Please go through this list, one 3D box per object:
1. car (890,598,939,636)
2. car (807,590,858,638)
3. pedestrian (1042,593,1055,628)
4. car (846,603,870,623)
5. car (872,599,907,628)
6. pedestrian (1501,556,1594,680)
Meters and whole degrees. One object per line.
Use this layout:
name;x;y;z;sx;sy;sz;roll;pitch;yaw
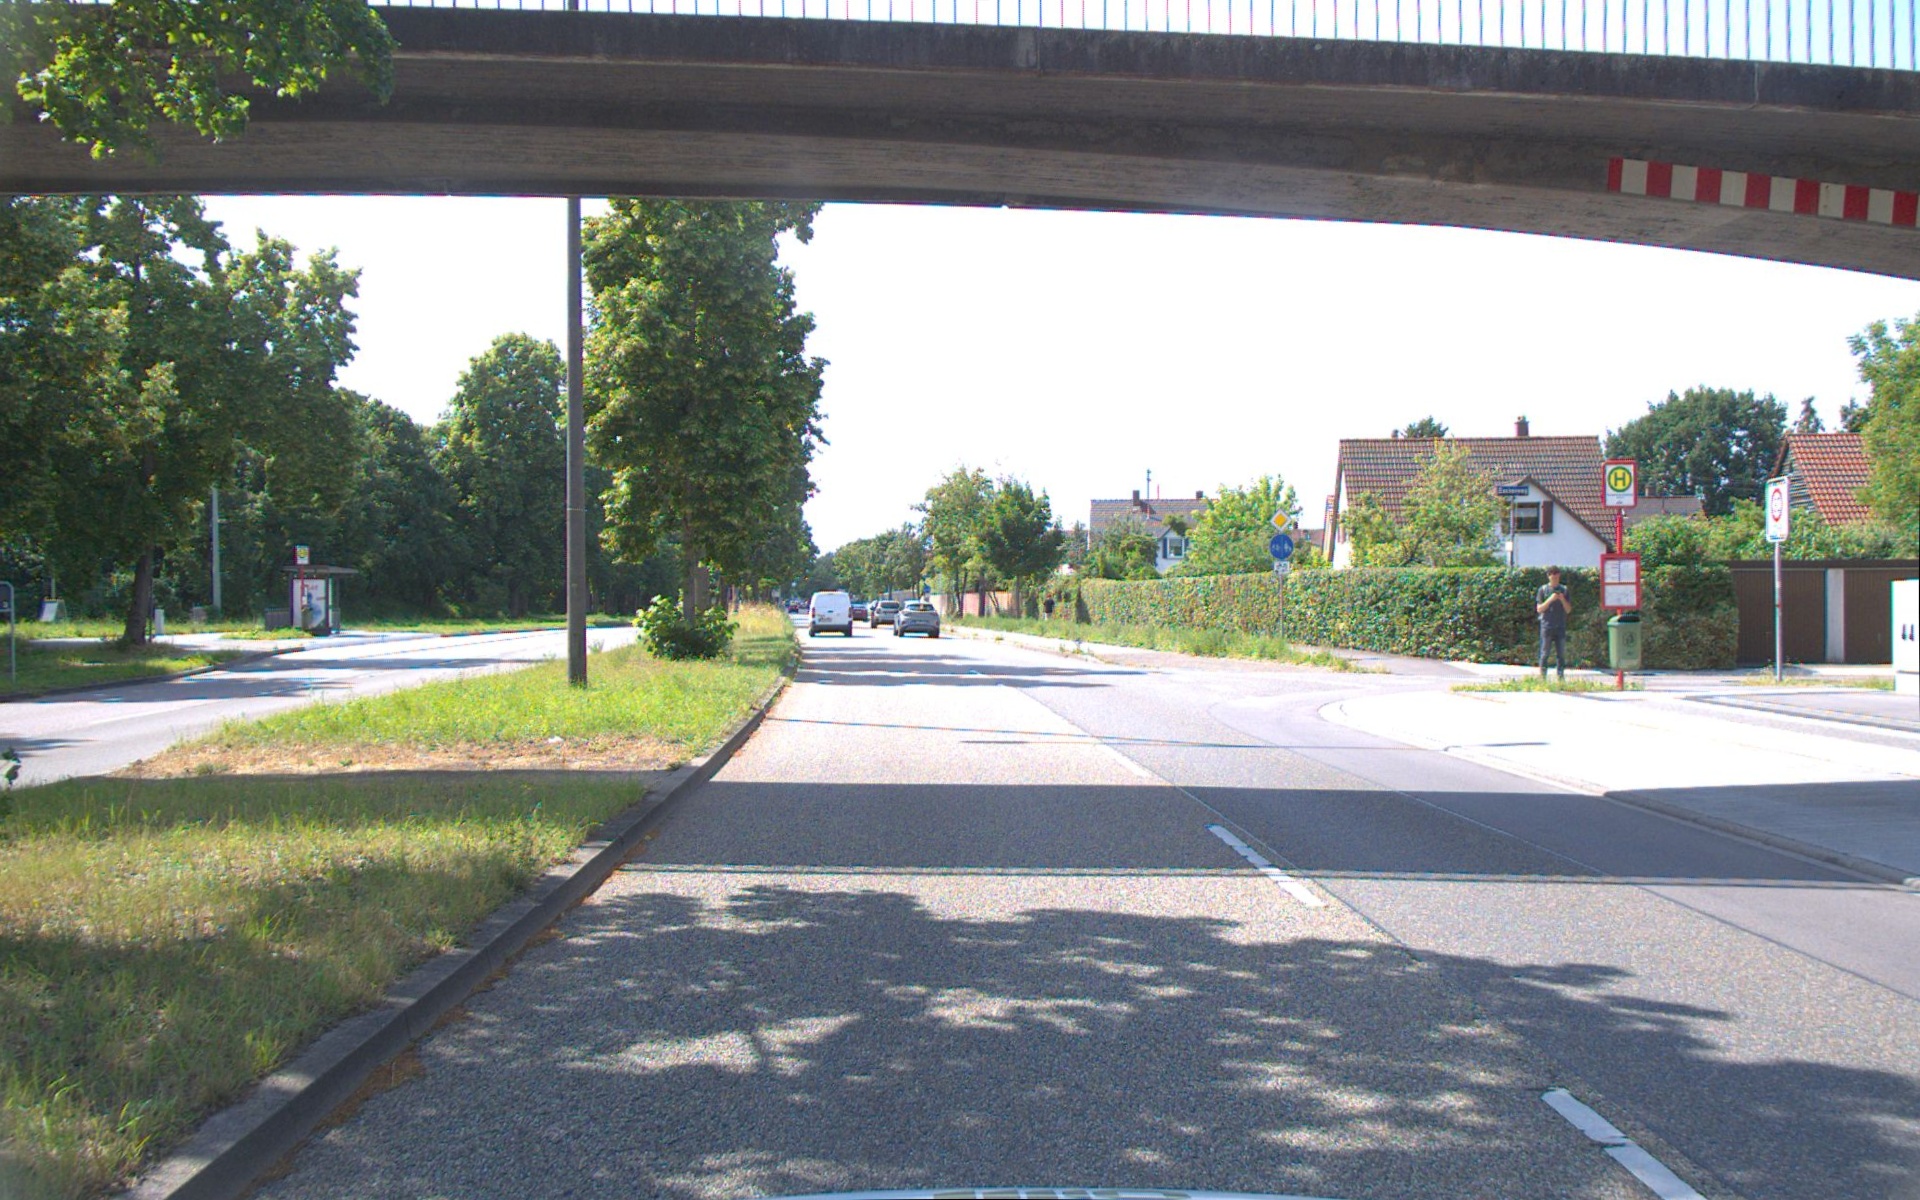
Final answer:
car;-2.009;0.732;71.602;1.839;1.617;4.179;0;0;-6
car;-5.382;0.588;69.445;2.026;1.945;4.640;0;0;-6
pedestrian;4.414;0.525;82.500;0.549;1.706;0.633;0;0;-7
car;-8.469;1.066;136.782;1.844;1.615;3.995;0;0;-6
car;-4.184;0.770;98.153;1.839;1.681;3.995;0;0;-6
pedestrian;9.157;0.291;25.818;0.935;1.856;1.087;-2;-2;-3
